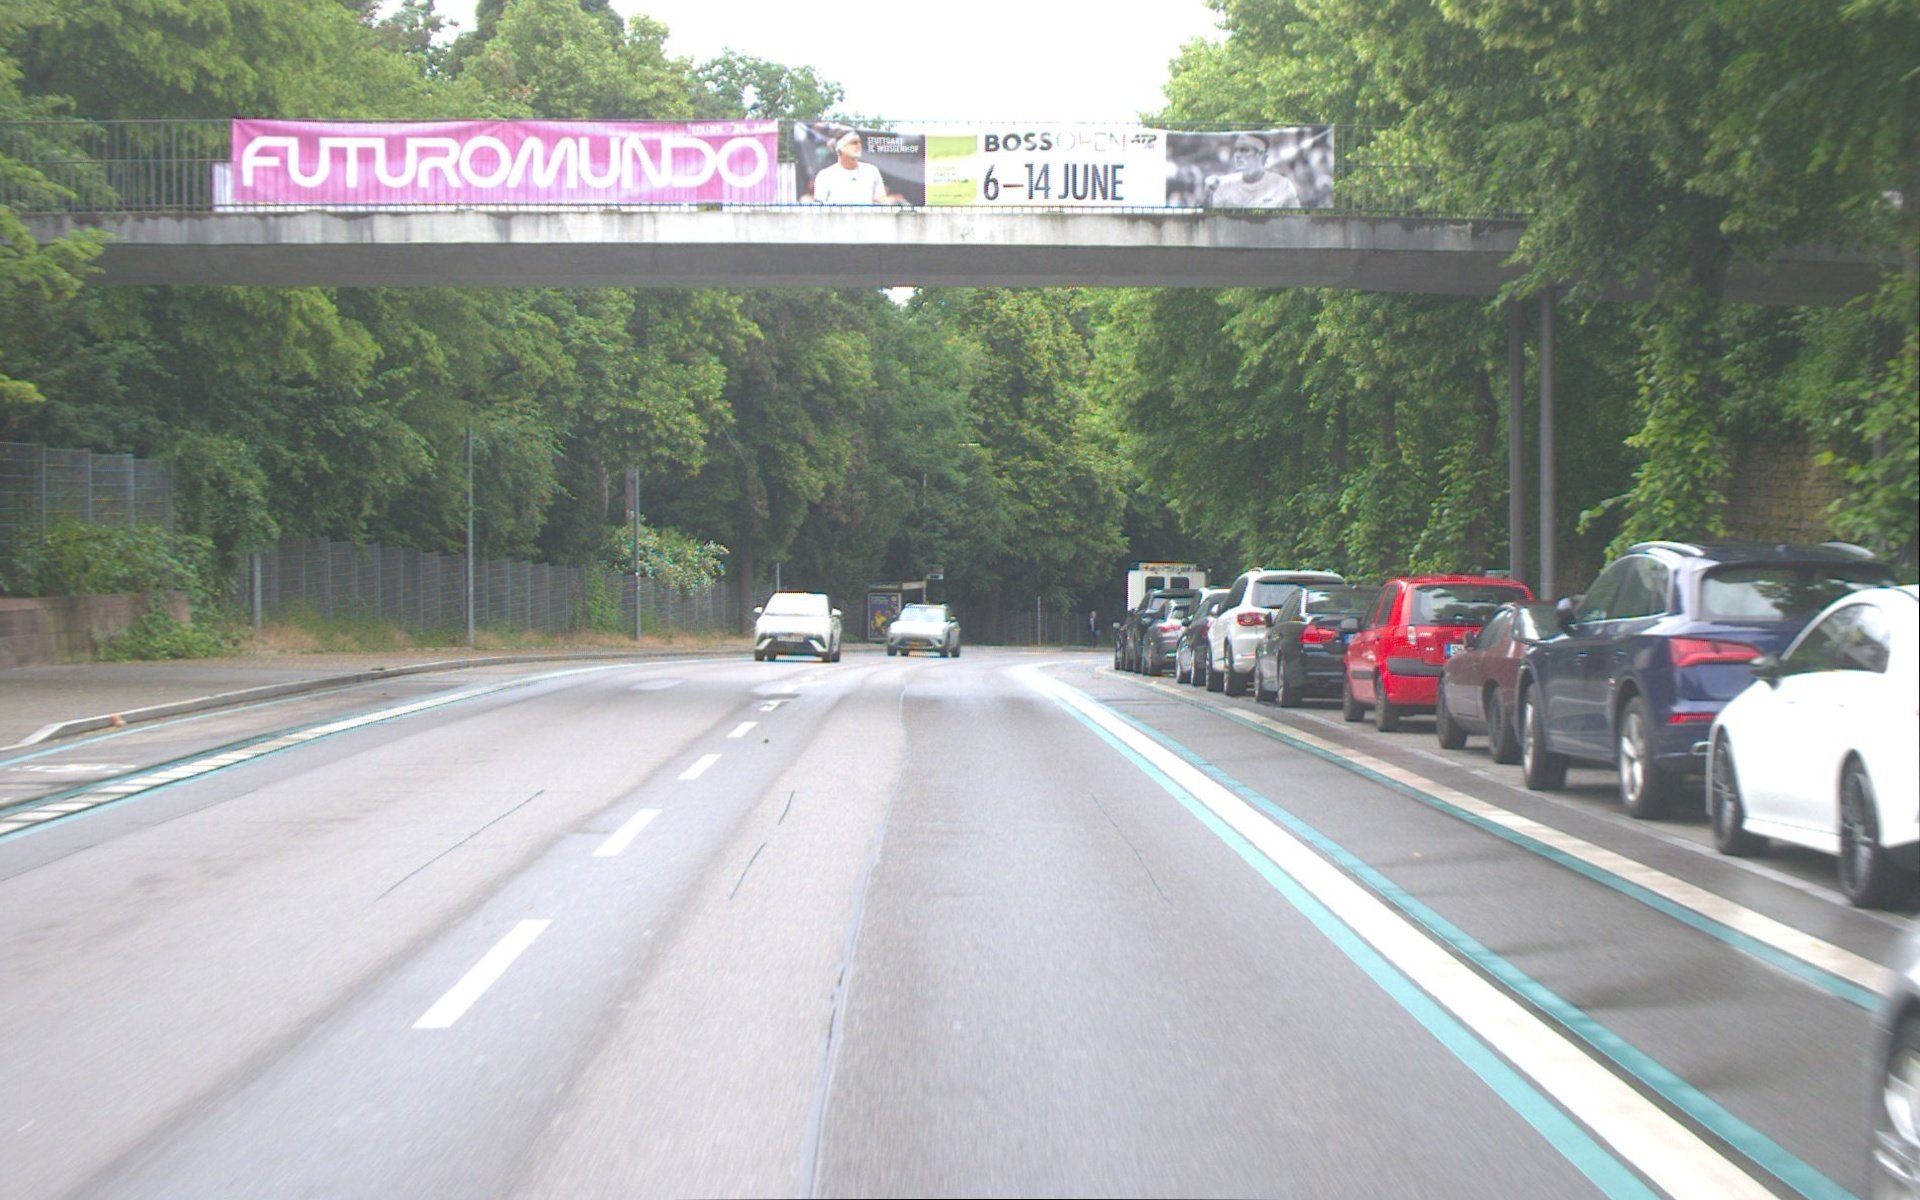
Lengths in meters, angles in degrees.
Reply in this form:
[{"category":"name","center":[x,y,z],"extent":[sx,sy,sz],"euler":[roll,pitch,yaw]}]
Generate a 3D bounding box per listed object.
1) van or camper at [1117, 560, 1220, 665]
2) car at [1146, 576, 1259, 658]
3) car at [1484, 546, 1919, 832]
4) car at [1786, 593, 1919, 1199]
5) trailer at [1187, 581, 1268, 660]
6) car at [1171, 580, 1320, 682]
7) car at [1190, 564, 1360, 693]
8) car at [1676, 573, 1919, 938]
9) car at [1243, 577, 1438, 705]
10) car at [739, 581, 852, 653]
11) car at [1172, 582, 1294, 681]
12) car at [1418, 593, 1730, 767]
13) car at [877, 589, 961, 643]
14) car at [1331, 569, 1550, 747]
[{"category":"van or camper","center":[5.672,0.364,92.800],"extent":[2.317,2.656,6.380],"euler":[2,0,7]},{"category":"car","center":[4.321,0.332,61.745],"extent":[1.775,1.344,4.466],"euler":[2,-1,1]},{"category":"car","center":[4.807,0.471,21.672],"extent":[1.993,1.555,4.643],"euler":[1,1,-4]},{"category":"car","center":[2.597,0.748,4.710],"extent":[1.721,1.393,4.591],"euler":[1,1,-1]},{"category":"trailer","center":[9.492,0.745,121.581],"extent":[2.317,2.663,5.374],"euler":[2,-1,10]},{"category":"car","center":[4.184,0.494,50.954],"extent":[1.718,1.371,4.558],"euler":[1,-2,-1]},{"category":"car","center":[4.159,0.380,45.926],"extent":[1.713,1.613,4.261],"euler":[1,-1,-2]},{"category":"car","center":[4.707,0.629,16.233],"extent":[1.660,1.421,4.618],"euler":[1,1,0]},{"category":"car","center":[4.384,0.491,40.176],"extent":[1.672,1.389,4.450],"euler":[1,-1,-1]},{"category":"car","center":[-3.674,0.369,77.334],"extent":[1.972,1.547,3.869],"euler":[1,0,6]},{"category":"car","center":[4.483,0.527,56.849],"extent":[1.661,1.530,3.741],"euler":[2,-1,0]},{"category":"car","center":[4.848,0.589,27.668],"extent":[1.625,1.186,4.184],"euler":[1,1,-2]},{"category":"car","center":[-1.225,0.489,104.461],"extent":[1.797,1.571,4.100],"euler":[1,-1,10]},{"category":"car","center":[4.622,0.518,33.460],"extent":[1.559,1.461,3.626],"euler":[1,3,0]}]
